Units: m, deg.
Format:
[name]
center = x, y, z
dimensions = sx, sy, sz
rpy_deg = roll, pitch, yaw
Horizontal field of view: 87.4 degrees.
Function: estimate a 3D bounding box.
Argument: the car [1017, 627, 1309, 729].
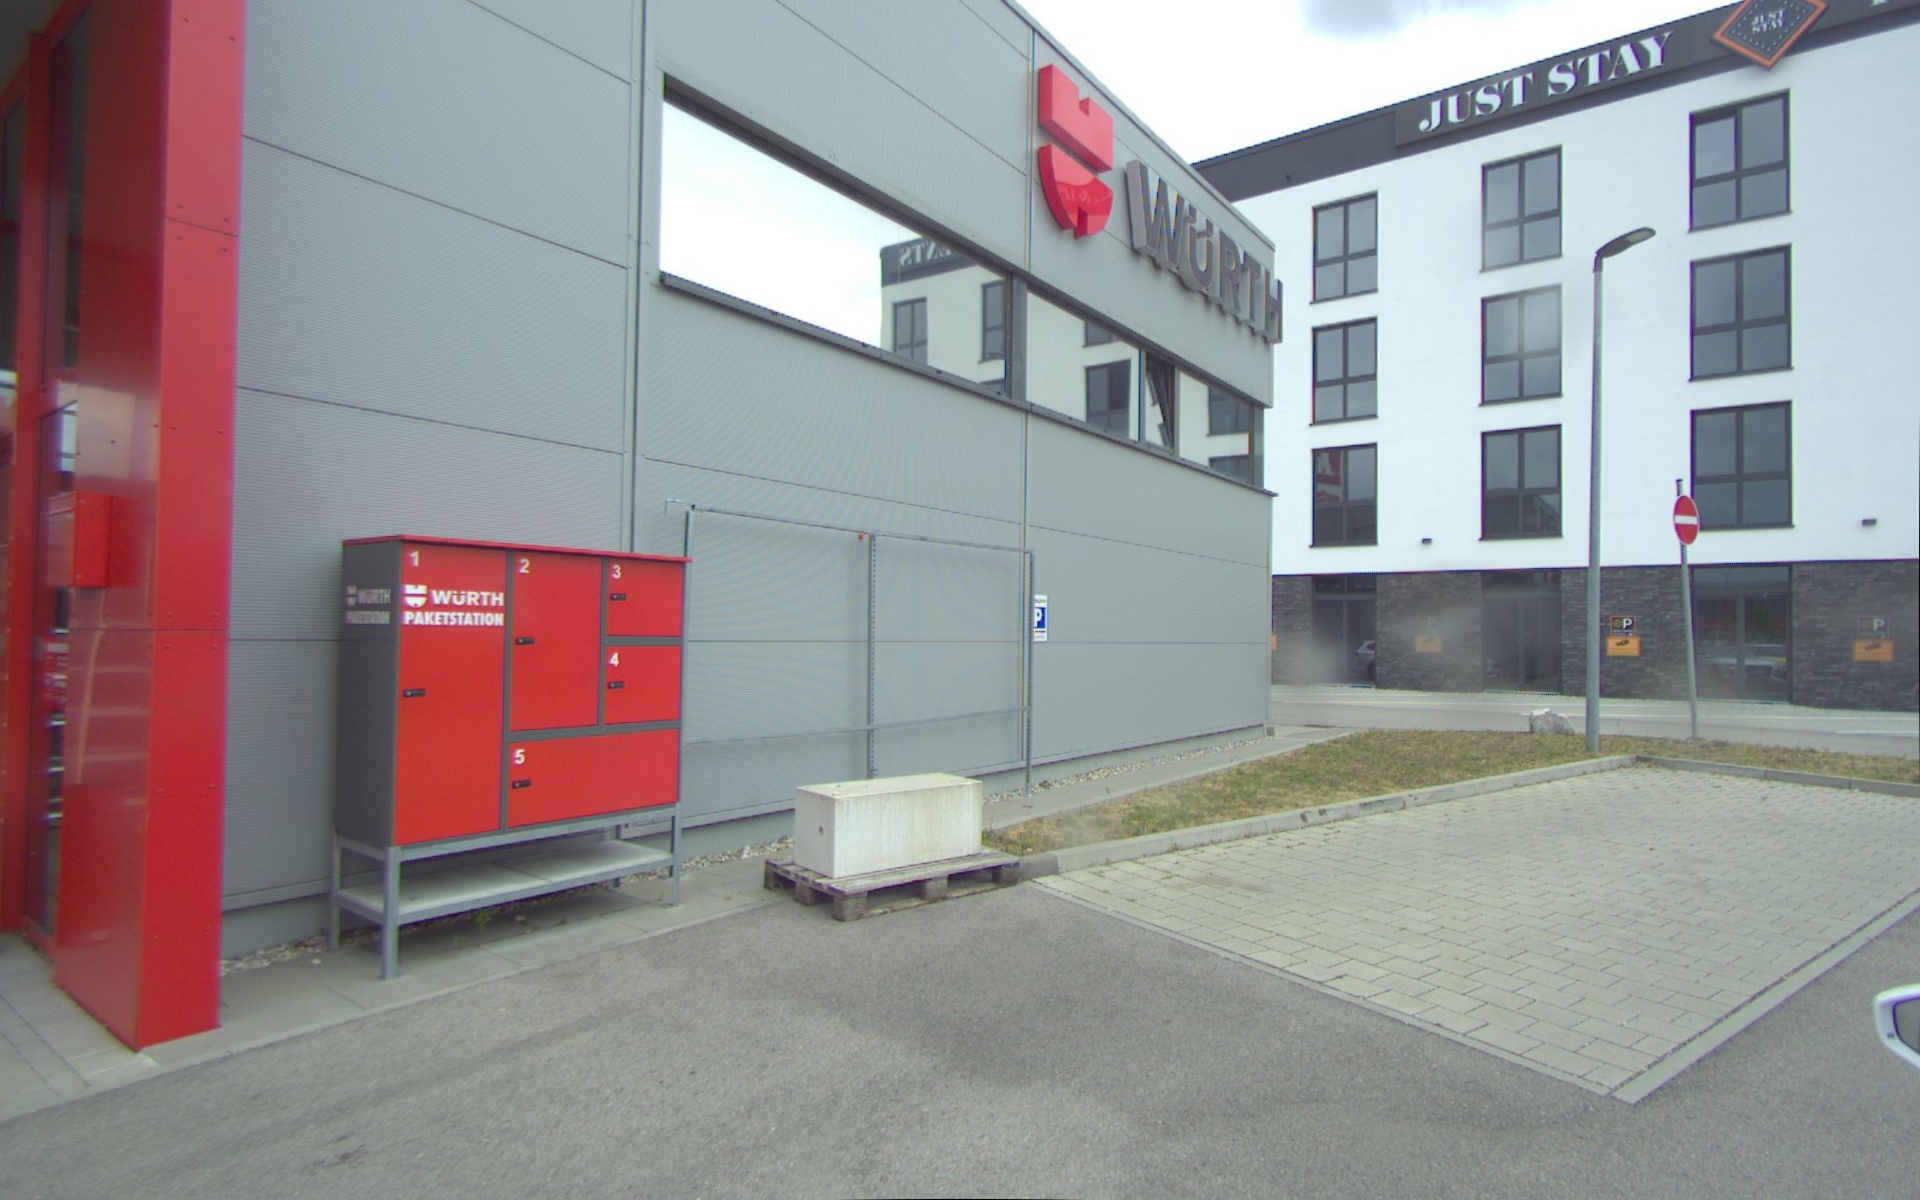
[car]
center = 3.467, 1.298, 17.704
dimensions = 4.702, 1.511, 1.971
rpy_deg = -1, -4, 42
